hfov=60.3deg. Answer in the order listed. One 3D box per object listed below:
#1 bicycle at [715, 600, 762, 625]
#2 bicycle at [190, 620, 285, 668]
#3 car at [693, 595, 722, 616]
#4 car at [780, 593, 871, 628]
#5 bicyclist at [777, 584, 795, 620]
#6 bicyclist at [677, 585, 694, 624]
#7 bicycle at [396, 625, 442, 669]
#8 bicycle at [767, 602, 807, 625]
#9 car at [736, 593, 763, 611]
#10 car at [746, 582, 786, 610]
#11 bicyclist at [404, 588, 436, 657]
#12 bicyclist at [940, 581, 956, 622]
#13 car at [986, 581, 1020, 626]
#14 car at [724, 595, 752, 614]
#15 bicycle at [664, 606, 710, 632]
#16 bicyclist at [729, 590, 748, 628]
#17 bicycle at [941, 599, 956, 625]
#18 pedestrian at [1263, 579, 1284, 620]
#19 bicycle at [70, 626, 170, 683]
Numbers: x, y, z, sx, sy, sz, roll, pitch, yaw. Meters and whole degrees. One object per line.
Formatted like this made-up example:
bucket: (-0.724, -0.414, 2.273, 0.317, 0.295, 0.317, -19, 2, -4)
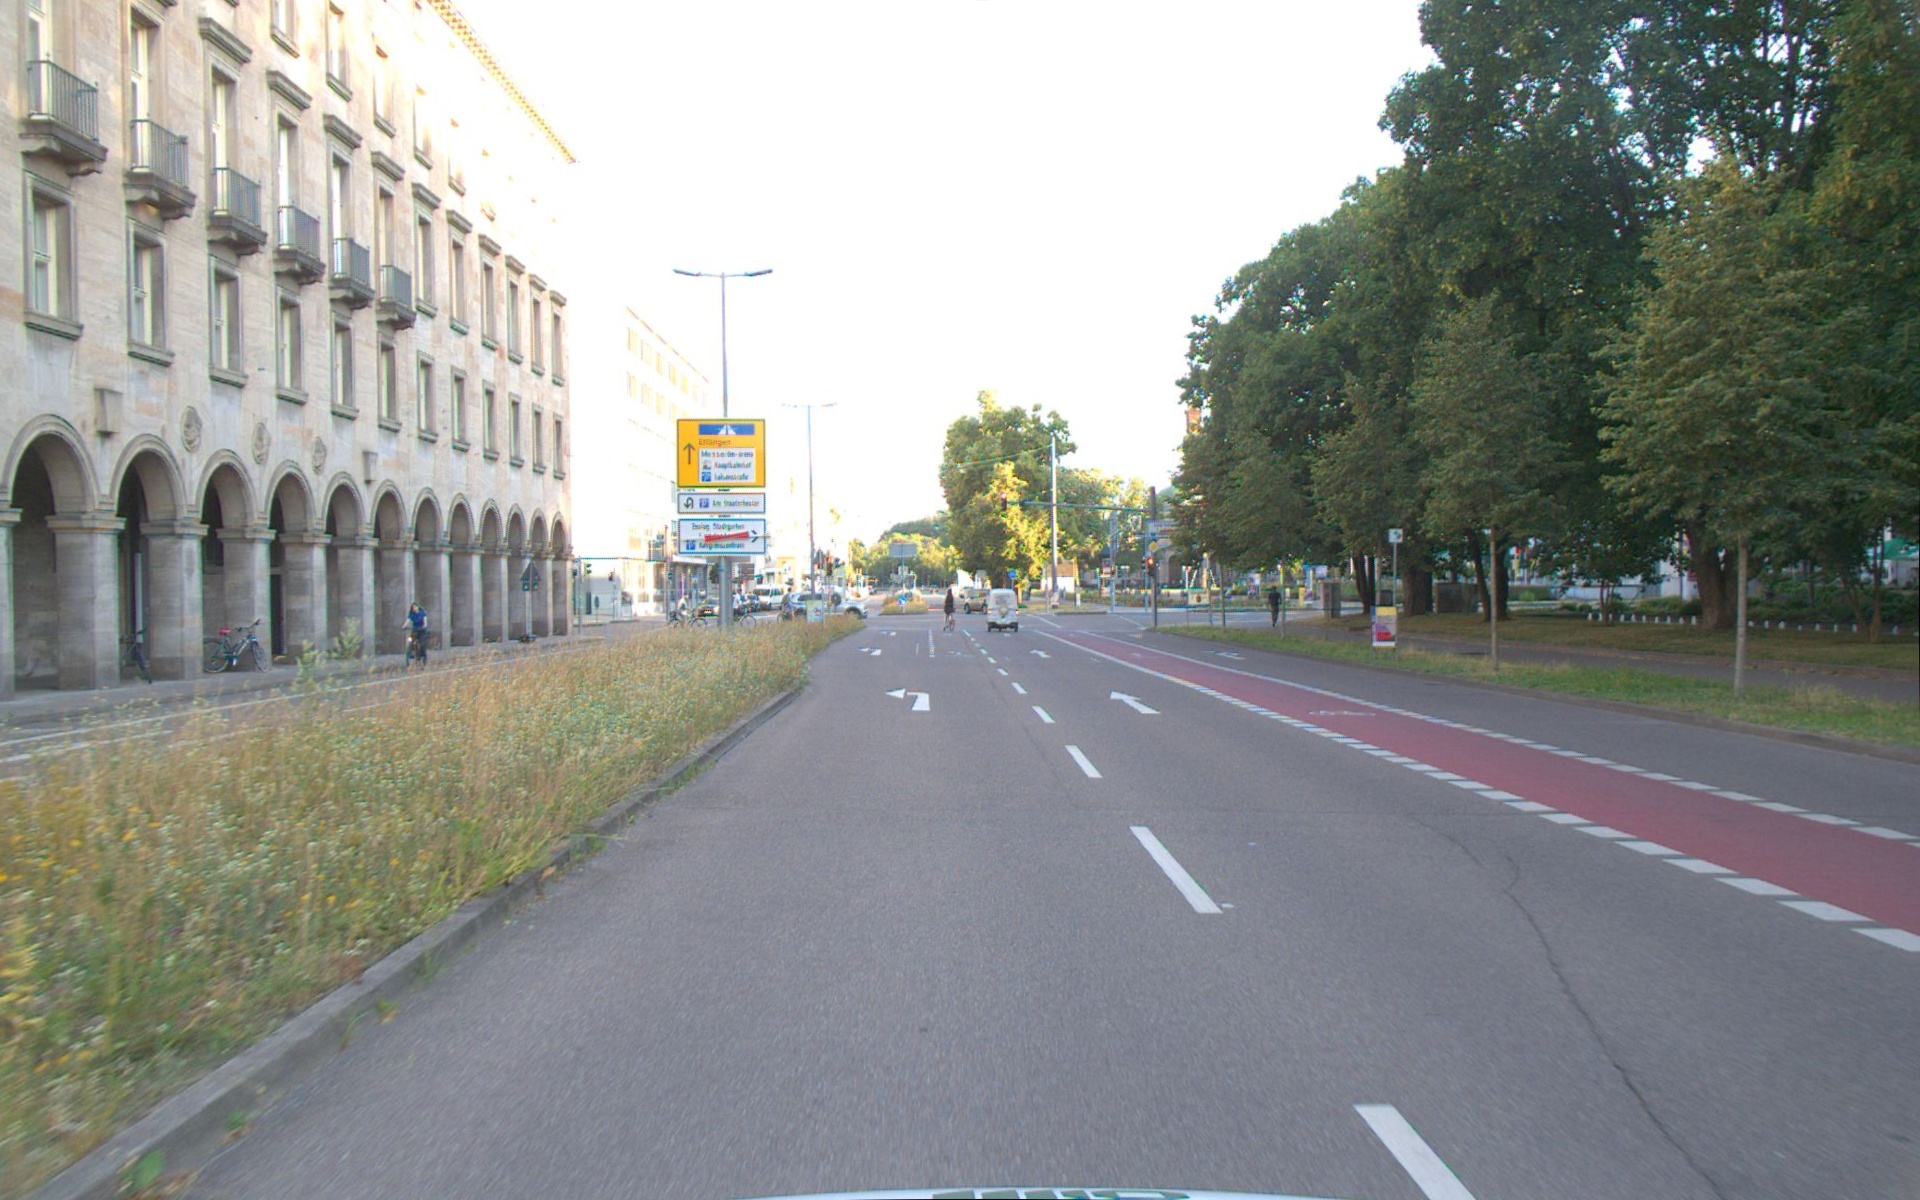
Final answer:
bicycle: (-10.128, 0.560, 75.548, 2.016, 1.087, 0.787, -1, 0, -1)
bicycle: (-16.315, 0.983, 37.391, 0.469, 1.023, 1.998, -1, 0, 34)
car: (-19.570, 0.435, 128.434, 1.760, 1.501, 3.998, -1, -2, -2)
car: (-6.870, 0.507, 84.279, 4.450, 1.677, 1.996, -1, 0, -10)
bicyclist: (-8.448, 0.088, 80.313, 0.730, 1.723, 0.715, -1, 0, 2)
bicyclist: (-12.255, 0.196, 73.838, 0.732, 1.723, 0.714, -1, 0, -9)
bicycle: (-13.609, 1.164, 41.636, 0.530, 1.023, 2.004, -1, 0, -2)
bicycle: (-8.403, 0.659, 80.296, 1.857, 1.087, 0.731, 0, 0, 1)
car: (-19.306, 0.199, 151.828, 1.759, 1.501, 4.000, -1, -2, 2)
car: (-18.585, -0.373, 158.443, 2.130, 2.427, 5.994, -2, -2, 10)
bicyclist: (-13.618, 0.555, 41.721, 0.525, 1.723, 0.748, -1, 0, -1)
bicyclist: (-0.500, 0.076, 69.857, 0.615, 1.723, 0.748, -1, 0, -2)
car: (1.803, 0.130, 69.658, 1.429, 1.811, 2.565, 0, 1, 1)
car: (-19.484, 0.387, 145.421, 1.759, 1.501, 4.001, -1, -2, 2)
bicycle: (-12.181, 0.849, 73.845, 1.977, 1.087, 0.729, -1, 0, -8)
bicyclist: (-10.109, 0.405, 75.531, 0.731, 1.723, 0.765, -1, 0, -2)
bicycle: (-0.492, 0.503, 70.174, 0.624, 1.087, 2.069, 0, 0, -1)
pedestrian: (13.356, -0.030, 70.472, 0.681, 1.723, 0.748, -1, 0, -3)
bicycle: (-16.397, 1.052, 32.350, 0.467, 1.023, 2.006, -1, 0, 17)
